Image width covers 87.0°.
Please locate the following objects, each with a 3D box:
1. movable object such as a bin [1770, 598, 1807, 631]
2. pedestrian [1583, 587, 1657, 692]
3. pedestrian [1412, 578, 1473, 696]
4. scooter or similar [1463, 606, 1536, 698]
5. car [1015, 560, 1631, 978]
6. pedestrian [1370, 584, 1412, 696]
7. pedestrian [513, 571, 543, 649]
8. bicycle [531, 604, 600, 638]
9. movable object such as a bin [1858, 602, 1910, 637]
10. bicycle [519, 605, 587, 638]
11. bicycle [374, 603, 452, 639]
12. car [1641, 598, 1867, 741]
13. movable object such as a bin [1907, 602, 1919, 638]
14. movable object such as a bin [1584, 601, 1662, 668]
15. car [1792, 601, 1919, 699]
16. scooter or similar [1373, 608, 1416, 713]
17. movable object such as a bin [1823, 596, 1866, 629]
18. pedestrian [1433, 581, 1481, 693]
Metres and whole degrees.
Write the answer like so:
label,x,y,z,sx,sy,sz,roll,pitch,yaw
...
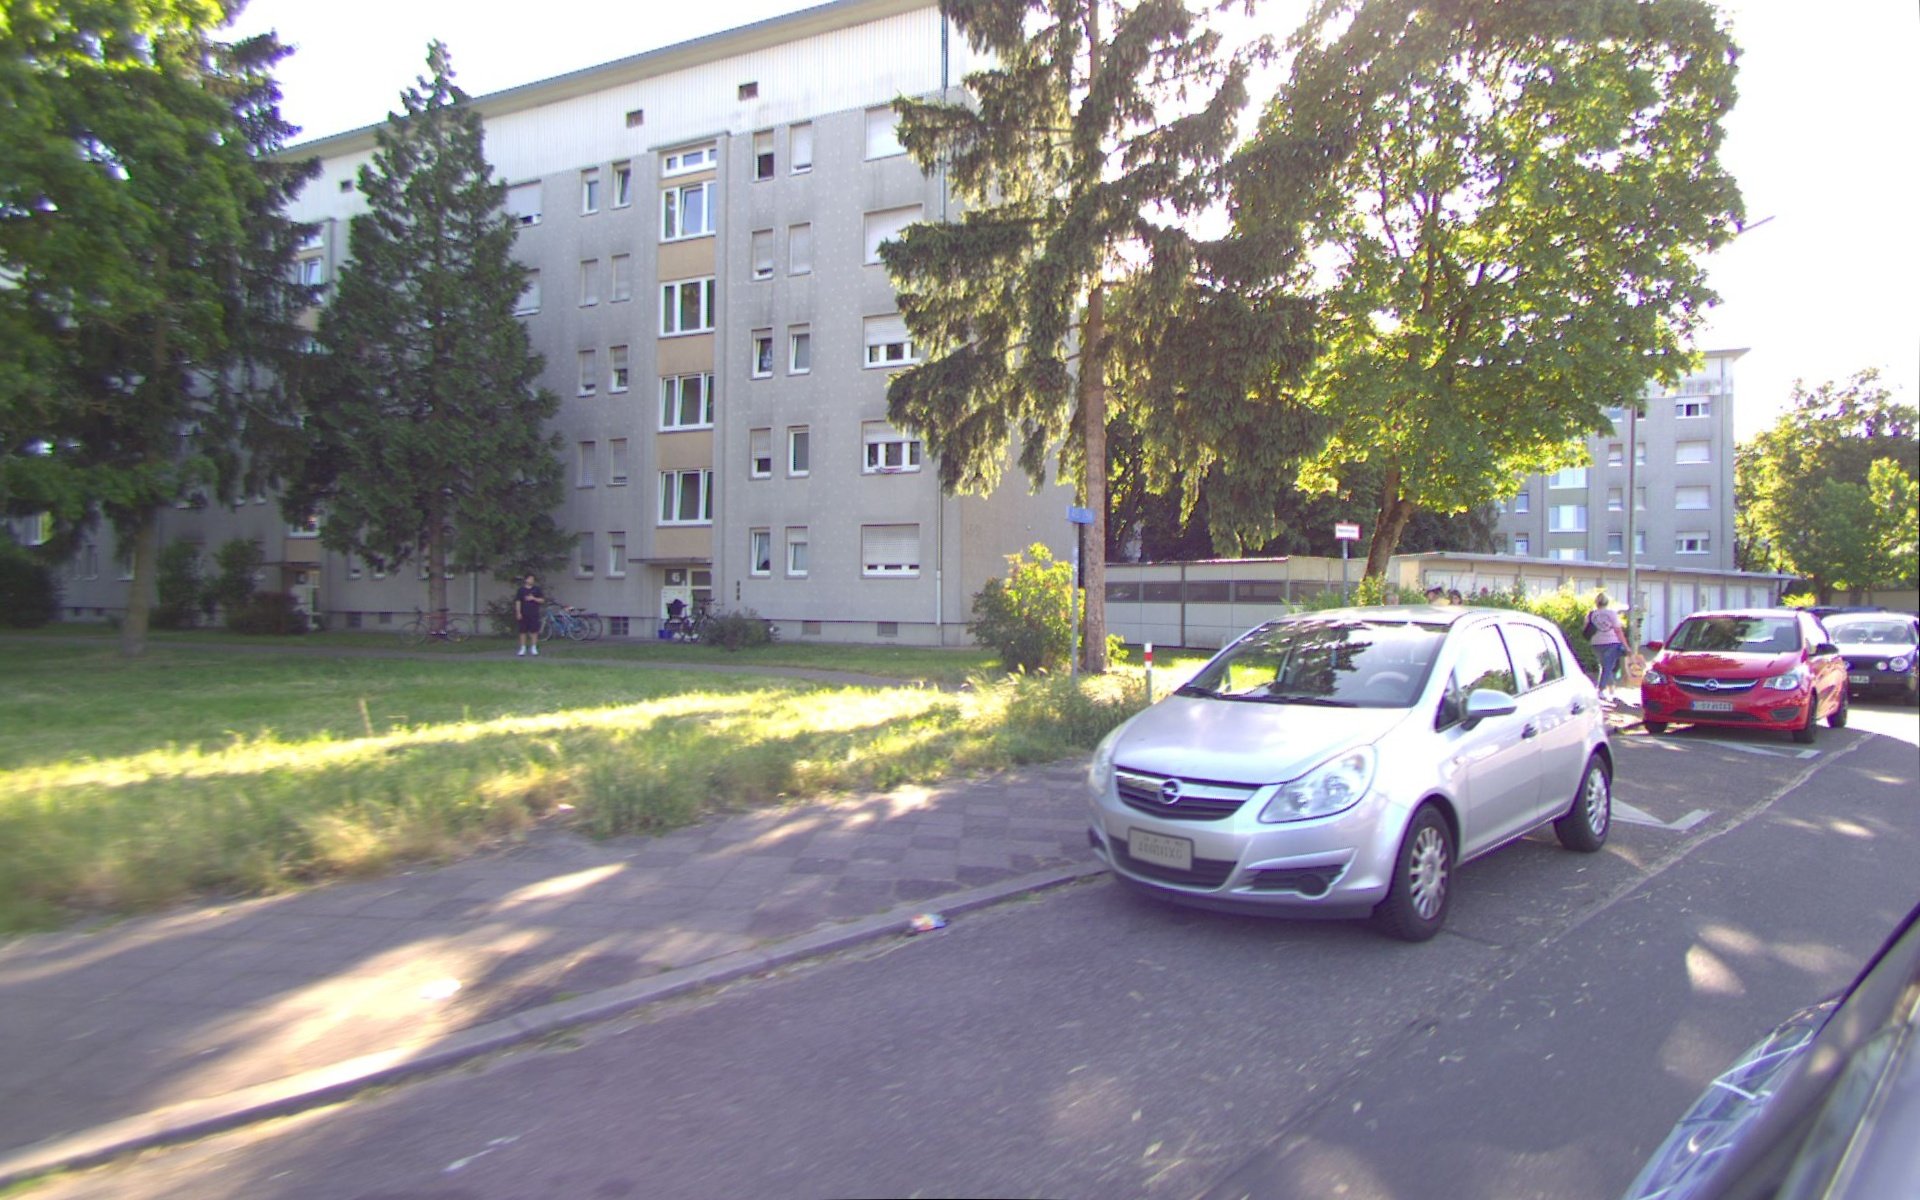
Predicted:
label,x,y,z,sx,sy,sz,roll,pitch,yaw
movable object such as a bin,37.201,0.655,45.437,0.817,1.435,1.080,-1,0,-30
pedestrian,10.224,0.602,15.688,0.560,1.585,0.789,0,-2,-40
pedestrian,6.680,0.496,14.017,0.585,1.584,0.483,-1,2,-30
scooter or similar,7.686,0.716,14.423,0.889,1.242,0.624,0,1,-40
car,2.229,0.627,5.704,3.724,1.562,1.733,0,0,-42
pedestrian,6.033,0.543,14.166,0.492,1.522,0.362,-1,2,-43
pedestrian,-9.464,0.222,22.177,0.525,1.684,0.491,0,-2,-30
bicycle,-10.572,0.554,27.154,1.651,0.858,0.512,0,-2,-41
movable object such as a bin,37.654,0.783,41.260,1.031,1.364,1.256,-1,0,-24
bicycle,-11.105,0.576,27.640,1.651,0.858,0.512,0,-2,-41
bicycle,-13.643,0.514,25.280,1.651,0.858,0.512,0,-2,-41
car,9.794,0.727,12.389,3.724,1.465,1.577,0,0,-42
movable object such as a bin,38.177,0.781,39.671,1.031,1.364,1.256,-1,0,-24
movable object such as a bin,14.700,0.733,22.448,0.898,1.421,1.240,0,0,-38
car,15.423,0.751,16.904,3.812,1.420,1.651,-1,1,-39
scooter or similar,5.566,0.748,12.996,0.395,1.242,1.246,1,1,19
movable object such as a bin,37.194,0.526,42.551,0.847,1.364,1.081,-1,0,-24
pedestrian,7.294,0.527,14.863,0.461,1.584,0.486,-1,2,-44
